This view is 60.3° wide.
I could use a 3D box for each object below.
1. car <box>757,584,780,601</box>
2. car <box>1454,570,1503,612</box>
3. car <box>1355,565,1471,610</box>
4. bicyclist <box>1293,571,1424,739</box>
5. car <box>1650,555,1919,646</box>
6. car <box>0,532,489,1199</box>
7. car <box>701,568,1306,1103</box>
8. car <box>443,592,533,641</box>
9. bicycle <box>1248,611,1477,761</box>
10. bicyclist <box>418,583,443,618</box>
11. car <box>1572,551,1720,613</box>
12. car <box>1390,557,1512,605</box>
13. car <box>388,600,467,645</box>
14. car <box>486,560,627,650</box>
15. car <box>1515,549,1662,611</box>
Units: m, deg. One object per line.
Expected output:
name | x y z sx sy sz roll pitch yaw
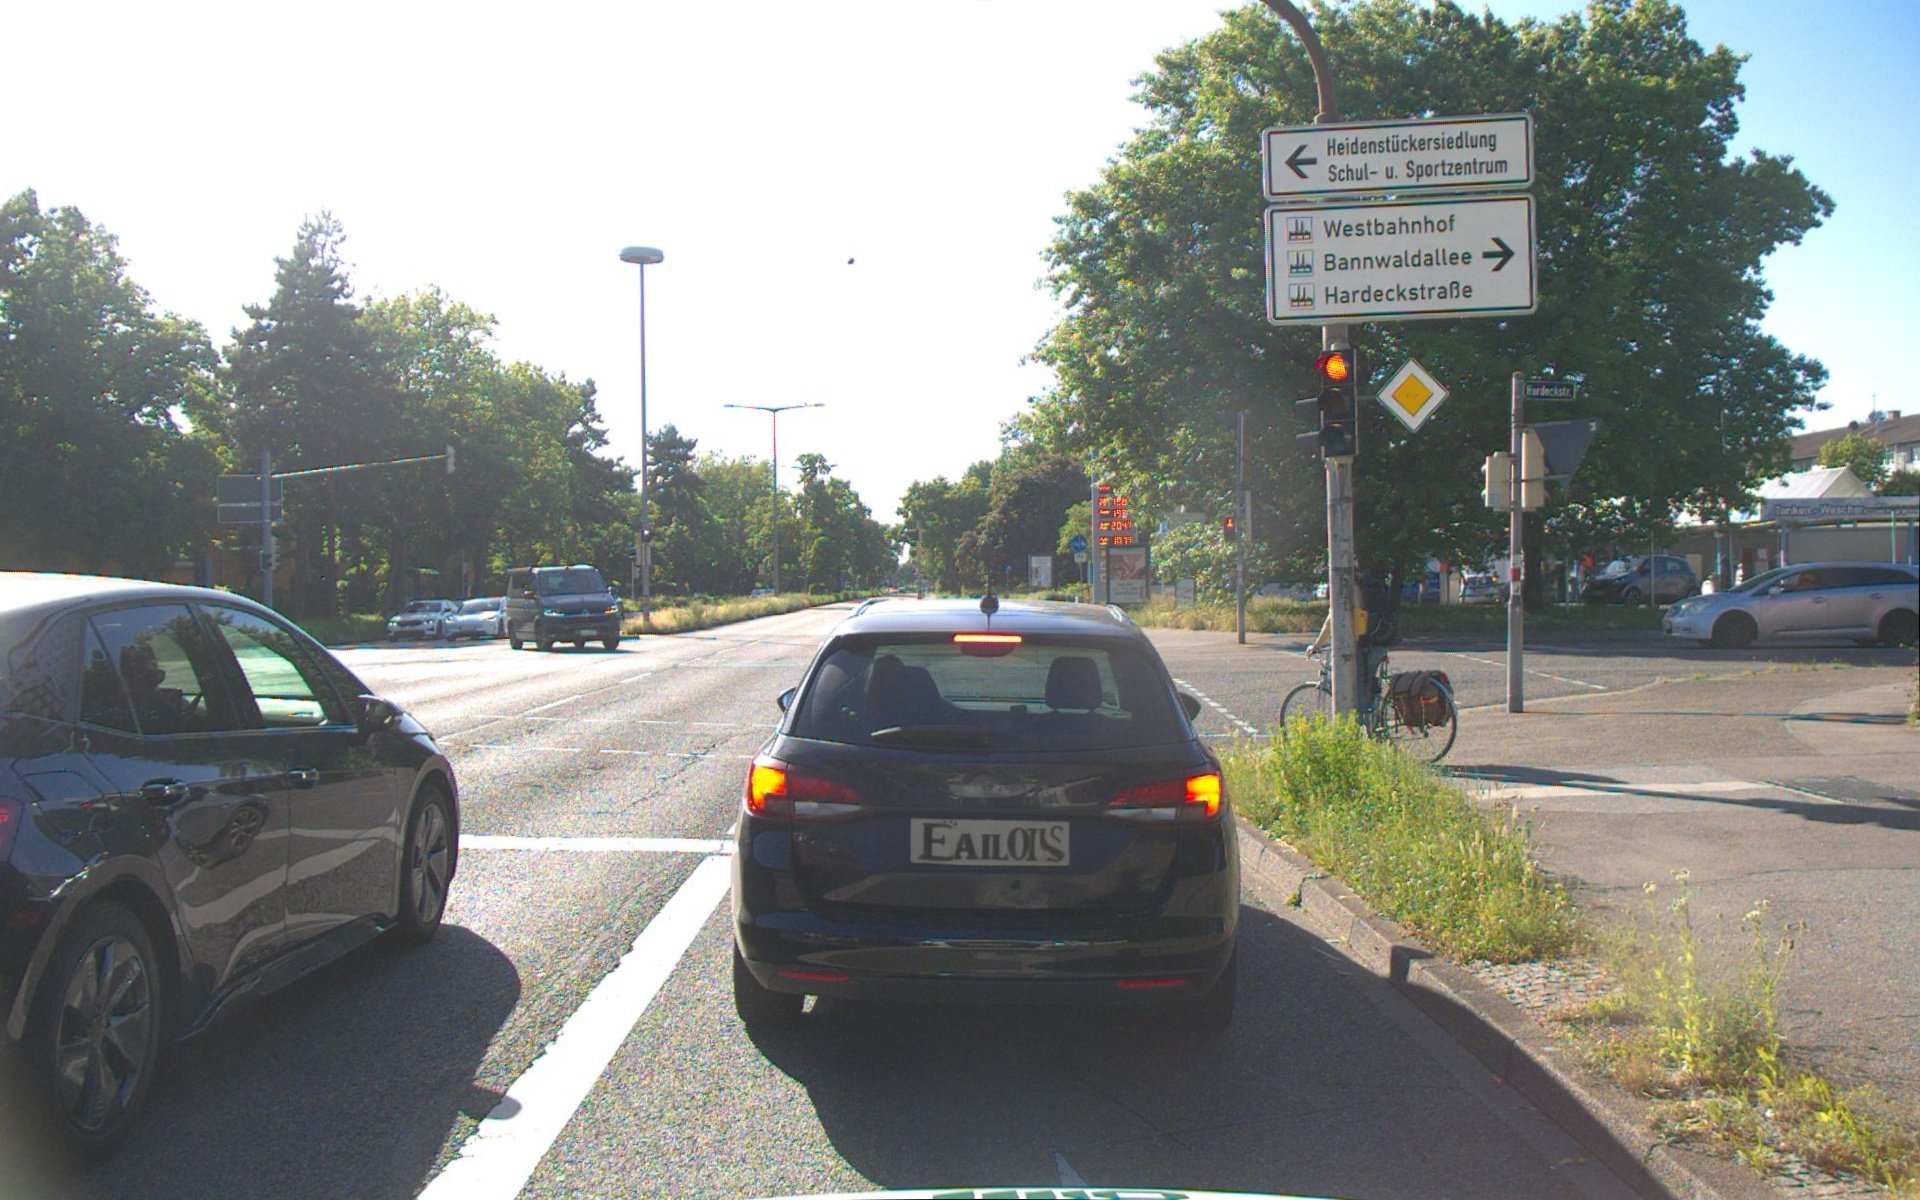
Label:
car | -18.336 -0.718 158.525 1.740 1.488 4.164 -1 0 -1
car | 21.942 -0.405 70.104 1.702 1.709 4.003 -1 0 14
car | 16.434 -0.464 60.059 3.837 1.544 1.732 -2 0 -24
bicyclist | 3.216 0.445 13.373 0.534 1.299 0.816 -2 -2 -44
car | 15.096 0.000 29.406 4.897 1.512 2.002 -1 0 11
car | -3.001 0.652 5.606 1.650 1.608 4.206 0 0 -1
car | 0.099 0.679 6.837 1.721 1.521 4.206 0 0 -1
car | -16.258 0.532 57.151 1.850 1.551 4.503 -1 0 -1
bicycle | 3.224 0.695 13.371 0.533 1.117 1.748 -2 -2 -44
bicyclist | -25.557 0.030 79.839 0.859 1.677 1.198 -2 0 -6
car | 19.990 -0.534 48.195 3.934 1.709 1.732 -2 0 -24
car | 16.911 -0.652 56.984 3.837 1.544 1.732 -2 0 -24
car | -19.588 0.797 61.018 1.652 1.535 4.003 -1 0 -1
car | -9.842 0.112 40.063 1.893 2.027 4.961 -1 0 -31
car | 19.014 -0.607 50.035 3.935 1.780 1.985 -1 0 -24
